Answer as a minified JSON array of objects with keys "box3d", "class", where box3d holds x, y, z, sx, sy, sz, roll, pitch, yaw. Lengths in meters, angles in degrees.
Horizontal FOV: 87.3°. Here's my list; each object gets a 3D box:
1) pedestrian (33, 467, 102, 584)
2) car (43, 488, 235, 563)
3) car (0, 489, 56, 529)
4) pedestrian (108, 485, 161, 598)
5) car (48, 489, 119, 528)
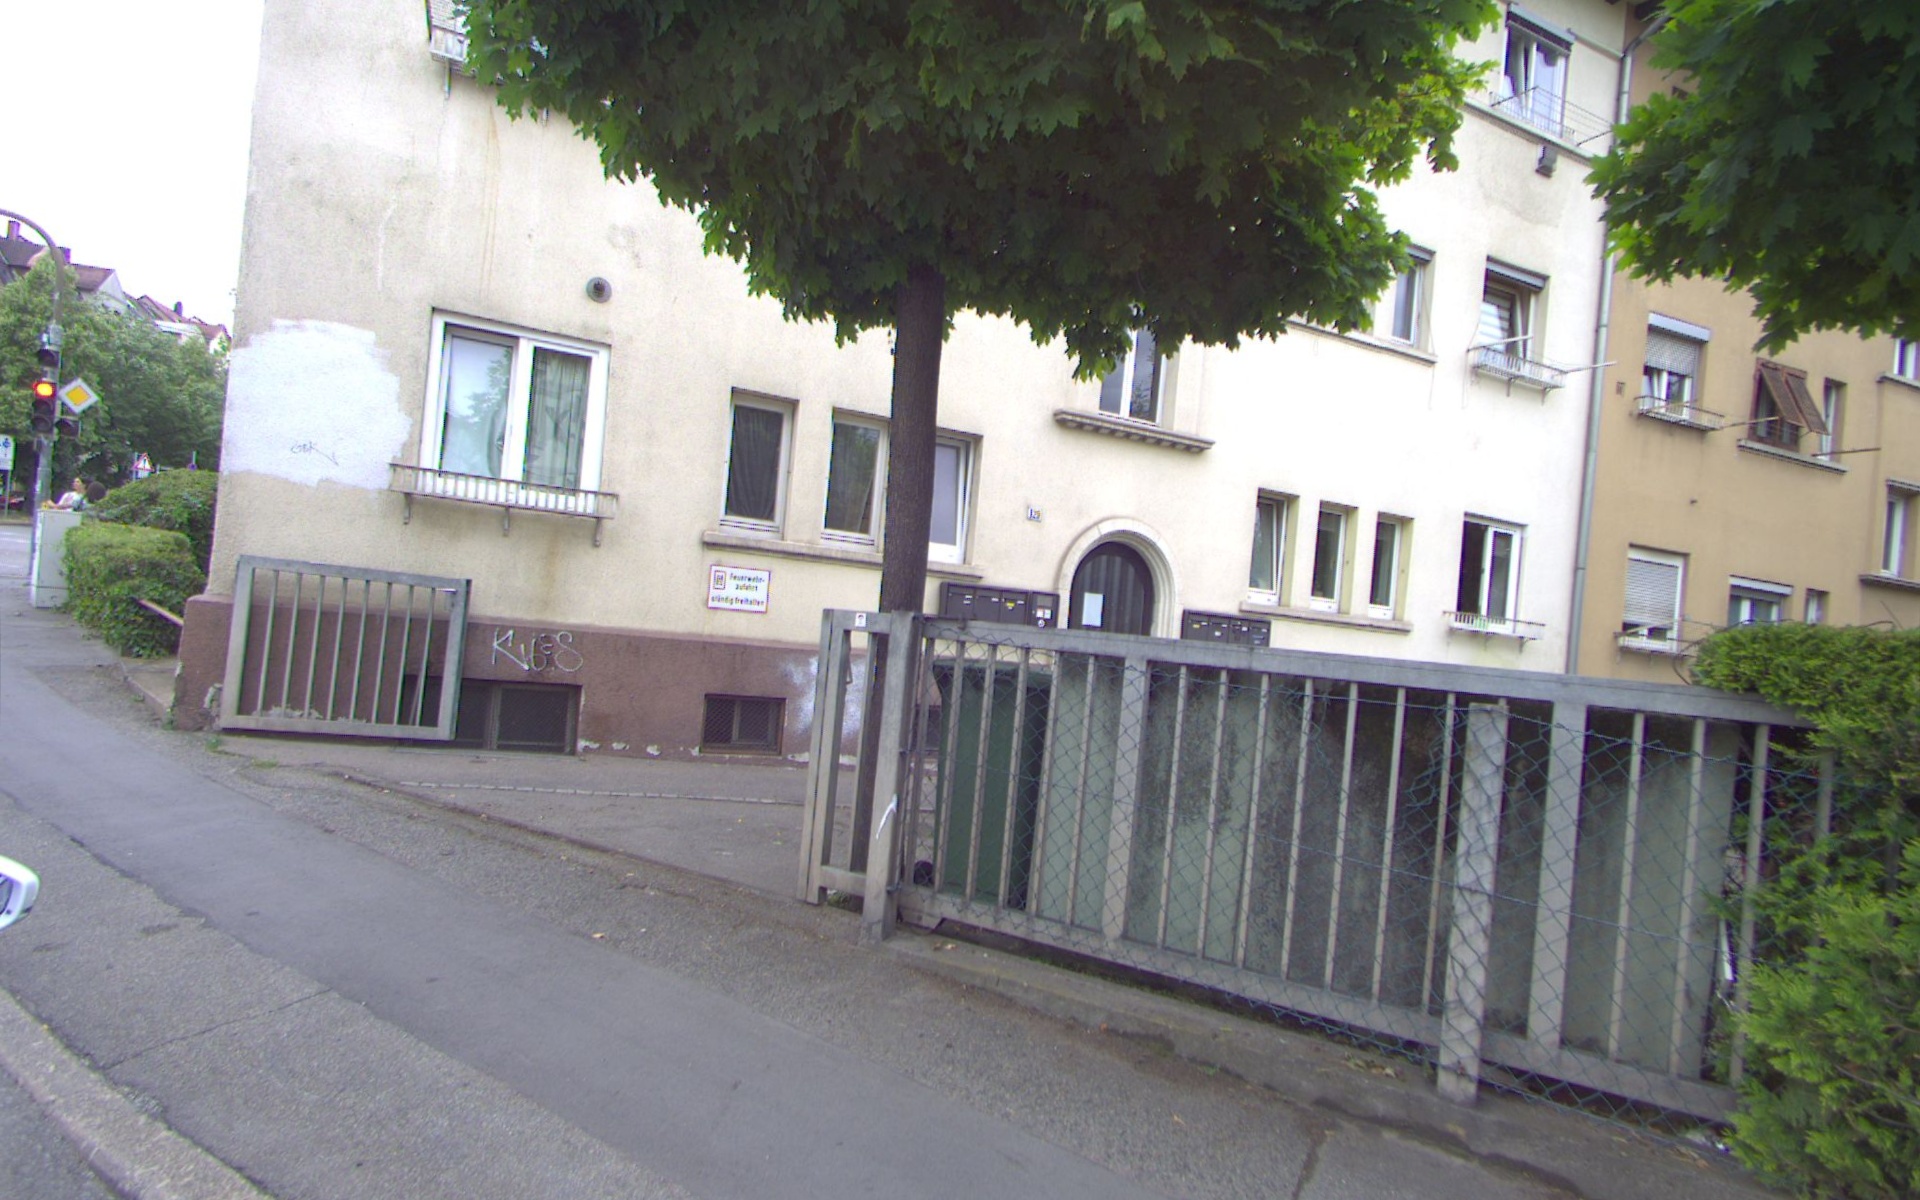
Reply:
[{"box3d":[-14.954,-1.242,16.861,0.521,1.840,0.589,6,-2,40],"class":"pedestrian"},{"box3d":[-27.720,-2.486,34.099,4.569,1.792,1.929,6,-2,-7],"class":"car"},{"box3d":[-60.945,-5.911,64.970,1.970,2.036,3.992,8,-3,-15],"class":"car"},{"box3d":[-14.083,-0.999,17.164,0.462,1.857,0.320,9,-2,-44],"class":"pedestrian"},{"box3d":[-62.461,-6.485,71.775,1.970,2.036,3.992,8,-3,-15],"class":"car"}]
